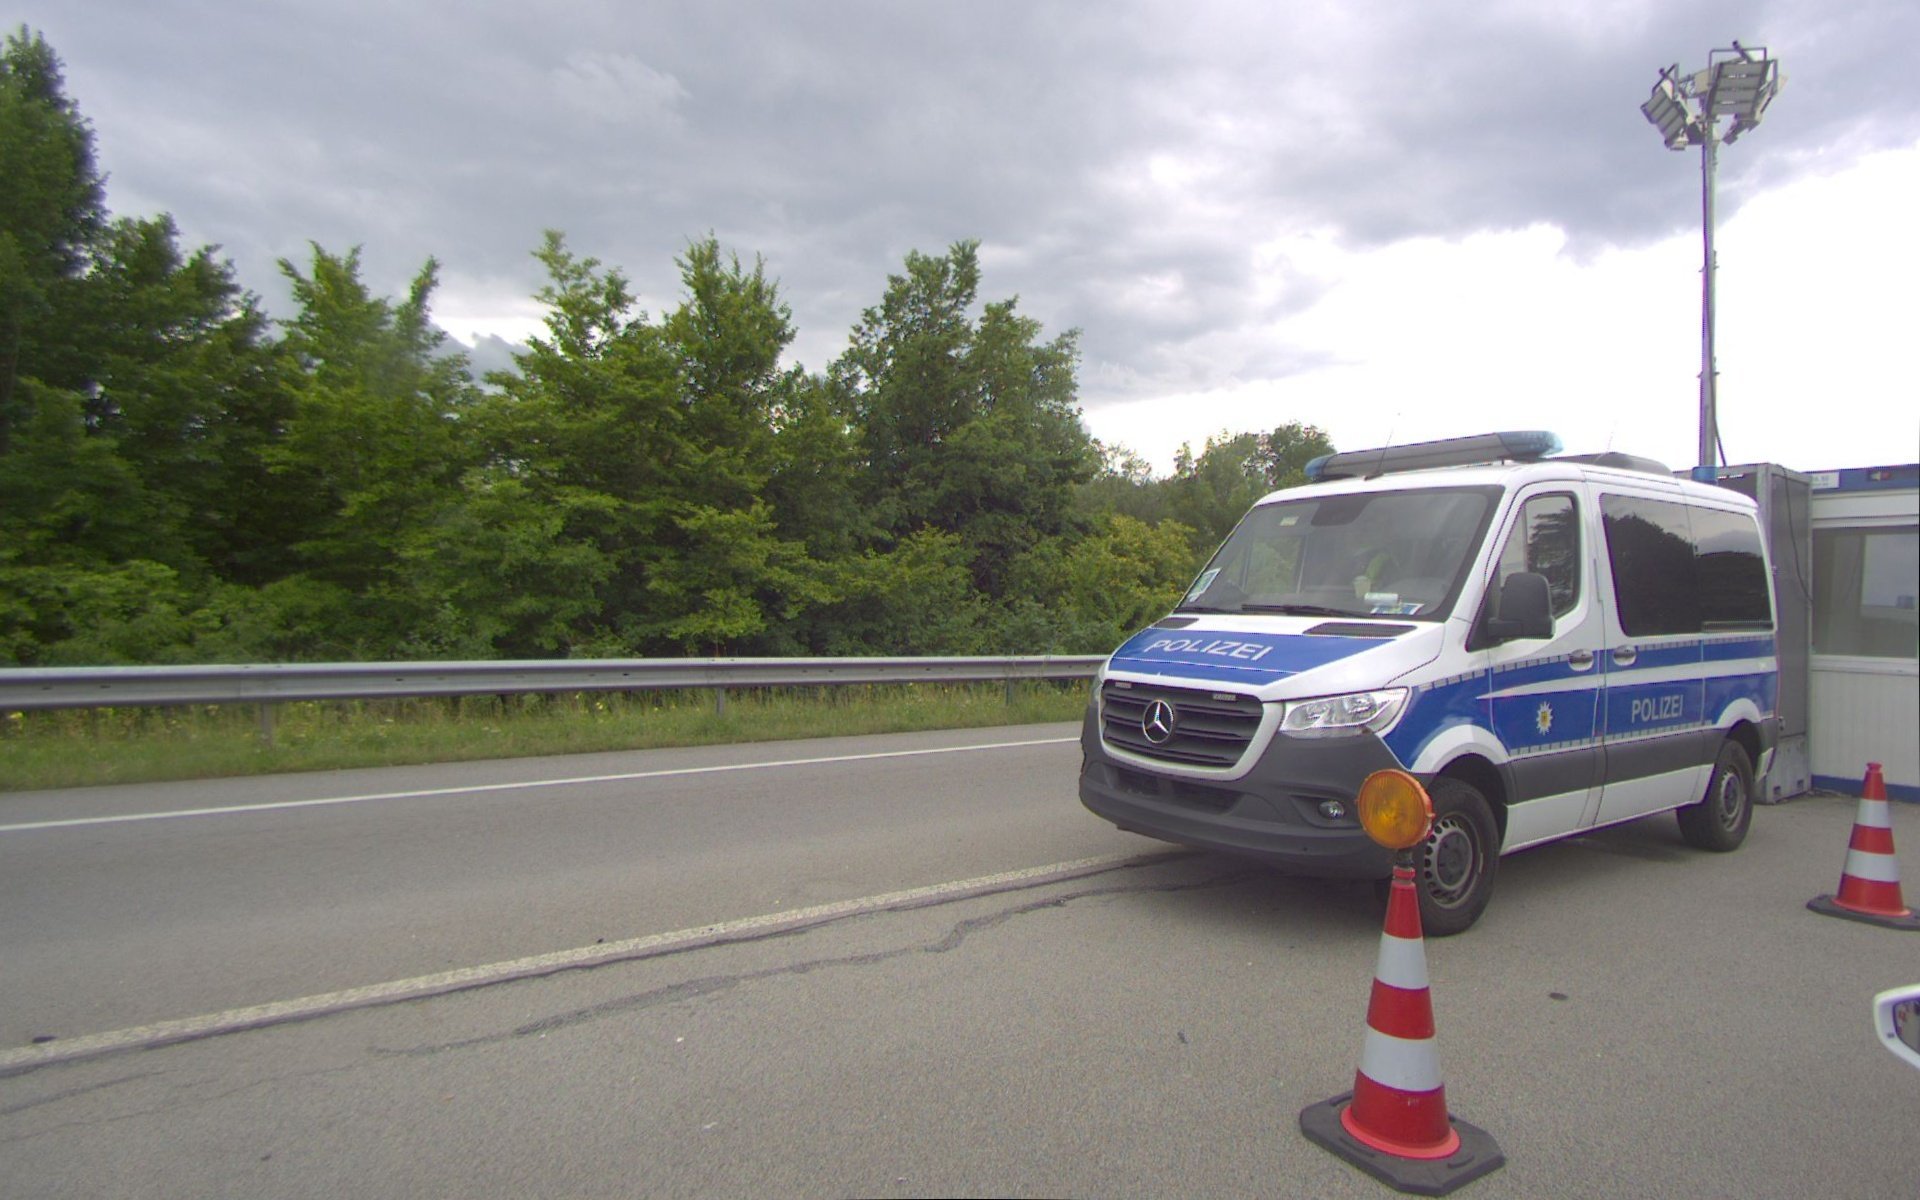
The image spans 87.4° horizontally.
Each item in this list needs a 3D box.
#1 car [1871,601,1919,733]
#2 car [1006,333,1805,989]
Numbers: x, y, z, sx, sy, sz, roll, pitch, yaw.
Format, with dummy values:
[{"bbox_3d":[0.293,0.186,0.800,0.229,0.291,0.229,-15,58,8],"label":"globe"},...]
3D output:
[{"bbox_3d":[14.755,0.944,14.258,3.968,1.767,1.857,1,0,-35],"label":"car"},{"bbox_3d":[2.981,0.273,6.148,5.225,2.496,2.016,1,0,-35],"label":"car"}]
